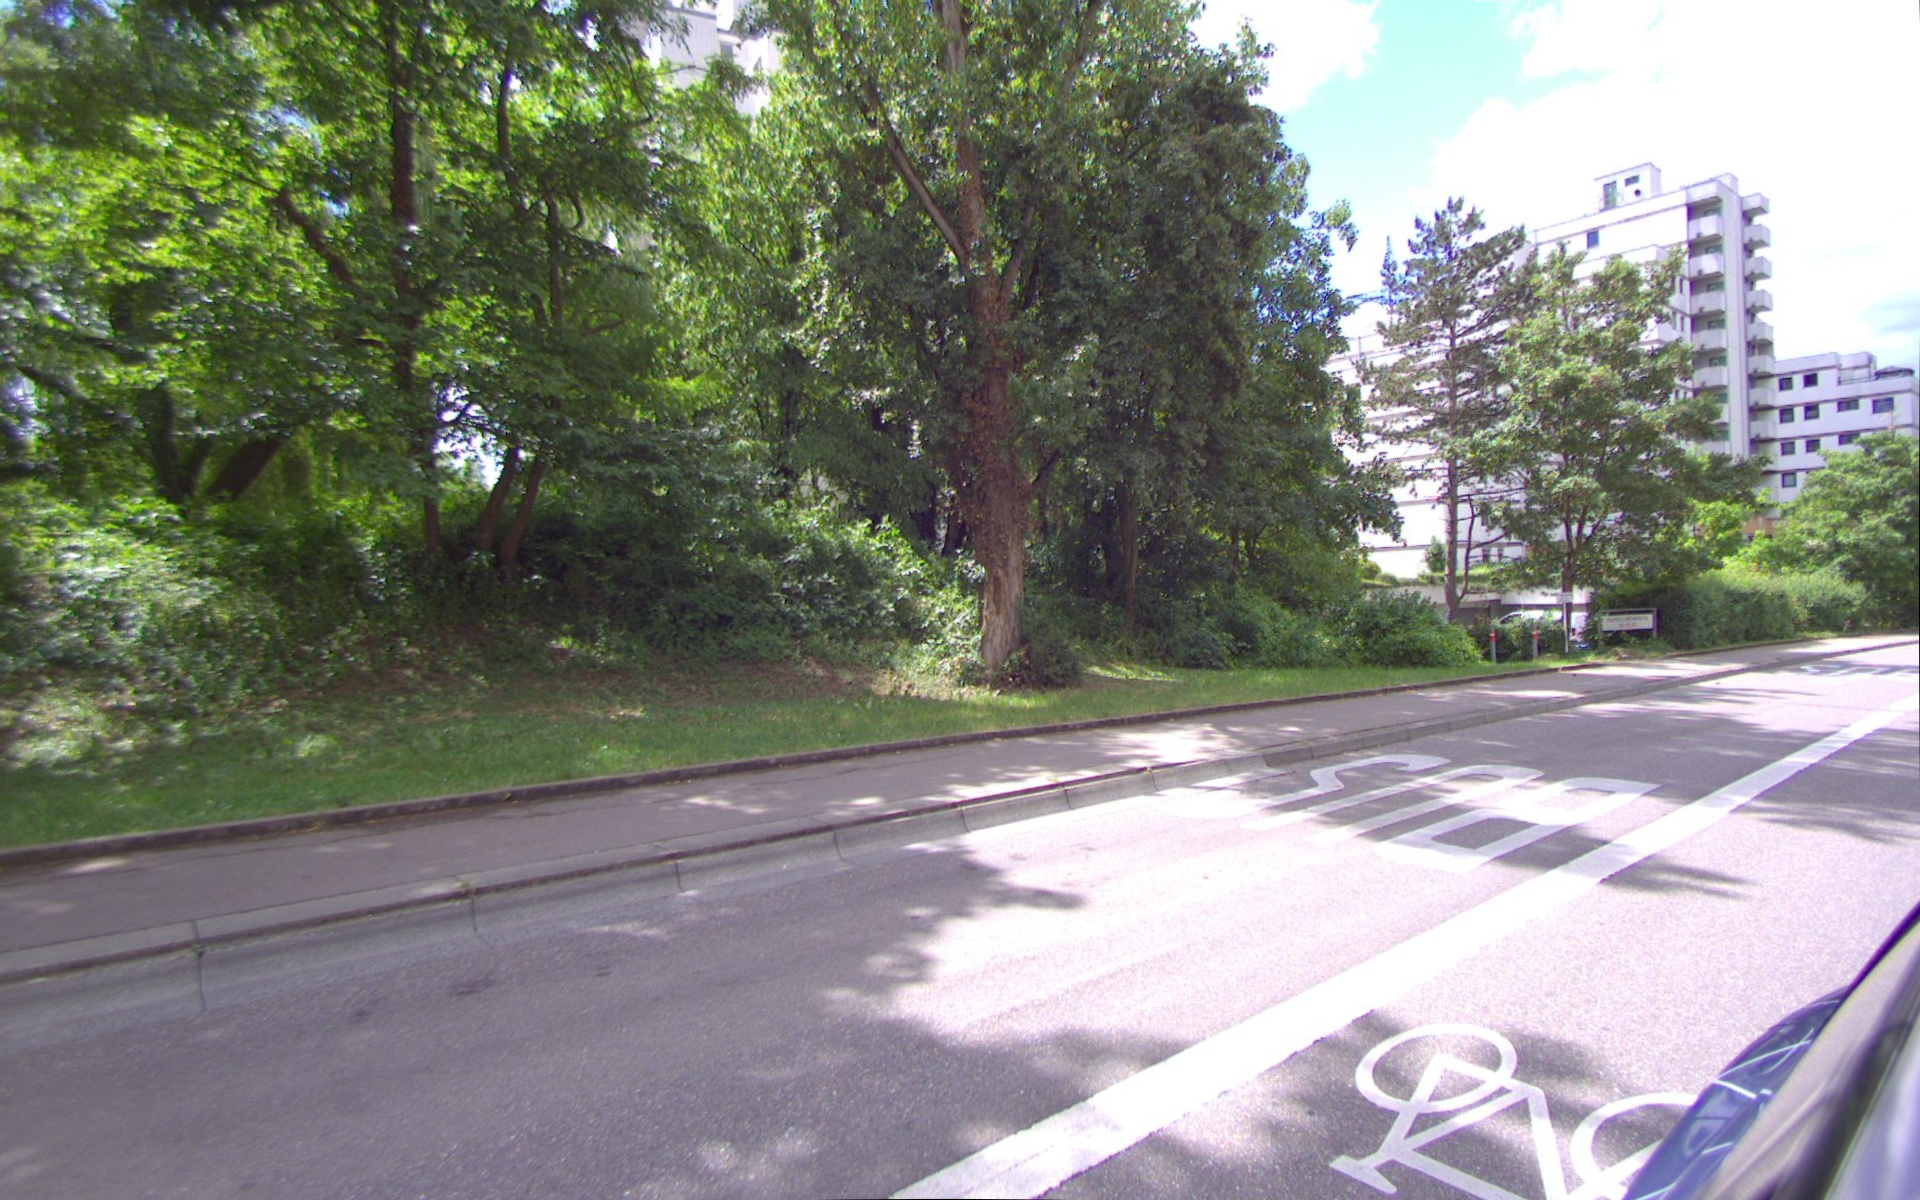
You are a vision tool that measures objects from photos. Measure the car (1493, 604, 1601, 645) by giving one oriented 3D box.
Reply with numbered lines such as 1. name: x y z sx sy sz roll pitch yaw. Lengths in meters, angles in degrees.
1. car: 31.036 1.238 53.640 1.962 2.039 4.549 -1 0 -34
